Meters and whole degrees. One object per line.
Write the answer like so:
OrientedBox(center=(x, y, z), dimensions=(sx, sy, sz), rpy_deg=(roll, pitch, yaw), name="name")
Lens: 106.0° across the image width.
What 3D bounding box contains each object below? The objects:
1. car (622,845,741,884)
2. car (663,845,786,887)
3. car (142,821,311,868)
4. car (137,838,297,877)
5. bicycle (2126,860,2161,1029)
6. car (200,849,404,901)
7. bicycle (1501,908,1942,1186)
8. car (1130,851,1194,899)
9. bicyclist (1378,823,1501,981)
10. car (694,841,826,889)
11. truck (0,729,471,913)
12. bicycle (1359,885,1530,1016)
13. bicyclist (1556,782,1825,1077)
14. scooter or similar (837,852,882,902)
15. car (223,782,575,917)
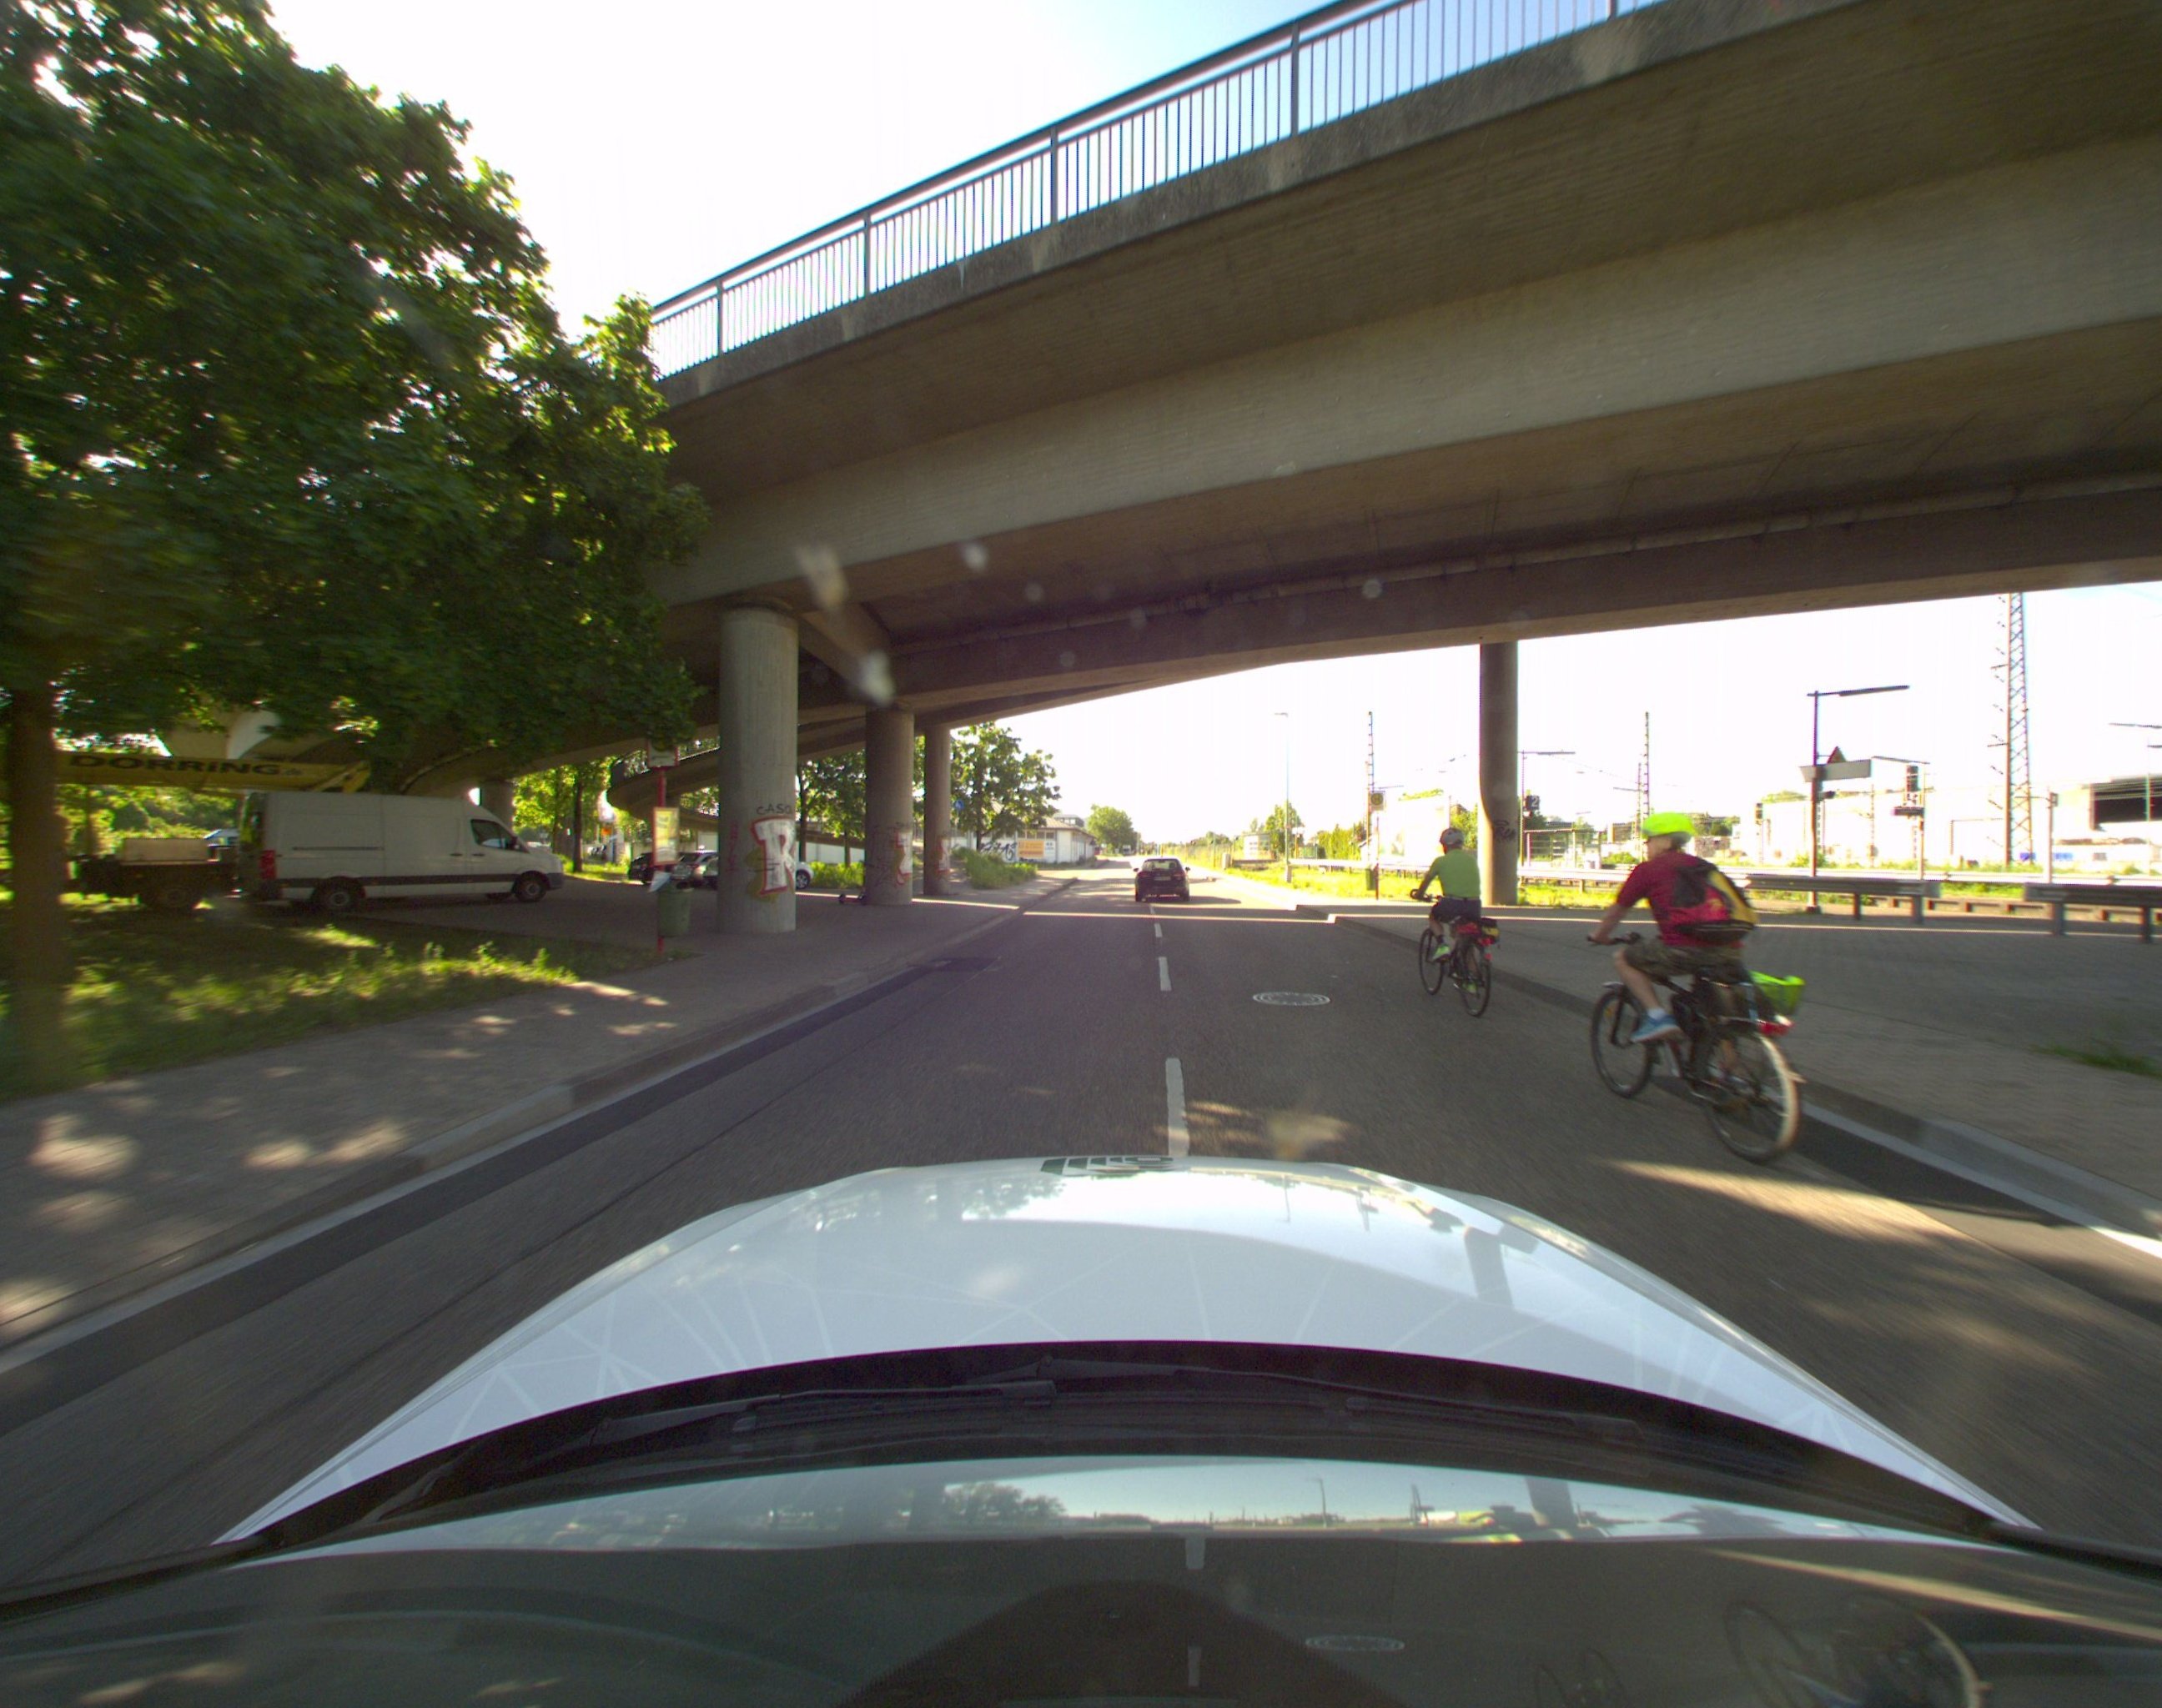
OrientedBox(center=(-16.945, 0.418, 34.754), dimensions=(1.662, 1.552, 4.326), rpy_deg=(0, 0, 33), name="car")
OrientedBox(center=(-14.221, 0.431, 32.701), dimensions=(1.662, 1.552, 4.326), rpy_deg=(0, 0, 33), name="car")
OrientedBox(center=(-47.728, -0.498, 45.771), dimensions=(6.442, 2.506, 1.975), rpy_deg=(0, 0, -45), name="car")
OrientedBox(center=(-34.175, 0.129, 32.310), dimensions=(1.718, 1.442, 4.277), rpy_deg=(0, 0, 41), name="car")
OrientedBox(center=(7.895, 0.635, 4.812), dimensions=(0.595, 1.182, 2.179), rpy_deg=(0, 0, -2), name="bicycle")
OrientedBox(center=(-23.620, 0.572, 24.839), dimensions=(1.718, 1.442, 4.277), rpy_deg=(0, 0, 38), name="car")
OrientedBox(center=(3.348, 0.911, 4.635), dimensions=(0.838, 1.051, 2.190), rpy_deg=(0, 0, 1), name="bicycle")
OrientedBox(center=(2.646, 0.653, 27.629), dimensions=(1.934, 1.488, 4.569), rpy_deg=(-1, 0, 3), name="car")
OrientedBox(center=(3.545, 0.445, 8.128), dimensions=(0.837, 1.488, 0.924), rpy_deg=(0, 0, 1), name="bicyclist")
OrientedBox(center=(-12.165, 0.372, 31.114), dimensions=(1.845, 1.642, 4.309), rpy_deg=(-3, -1, 37), name="car")
OrientedBox(center=(-19.690, -0.645, 19.295), dimensions=(2.451, 3.551, 8.018), rpy_deg=(0, 0, 39), name="truck")
OrientedBox(center=(3.552, 0.883, 8.215), dimensions=(0.837, 1.051, 2.191), rpy_deg=(0, 0, 2), name="bicycle")
OrientedBox(center=(3.345, 0.378, 4.571), dimensions=(0.838, 1.488, 0.924), rpy_deg=(0, 0, 1), name="bicyclist")
OrientedBox(center=(-5.930, 0.587, 21.786), dimensions=(1.292, 1.300, 0.582), rpy_deg=(0, 0, 43), name="scooter or similar")
OrientedBox(center=(-15.657, -0.157, 19.223), dimensions=(1.922, 2.681, 6.048), rpy_deg=(0, 1, 32), name="car")
